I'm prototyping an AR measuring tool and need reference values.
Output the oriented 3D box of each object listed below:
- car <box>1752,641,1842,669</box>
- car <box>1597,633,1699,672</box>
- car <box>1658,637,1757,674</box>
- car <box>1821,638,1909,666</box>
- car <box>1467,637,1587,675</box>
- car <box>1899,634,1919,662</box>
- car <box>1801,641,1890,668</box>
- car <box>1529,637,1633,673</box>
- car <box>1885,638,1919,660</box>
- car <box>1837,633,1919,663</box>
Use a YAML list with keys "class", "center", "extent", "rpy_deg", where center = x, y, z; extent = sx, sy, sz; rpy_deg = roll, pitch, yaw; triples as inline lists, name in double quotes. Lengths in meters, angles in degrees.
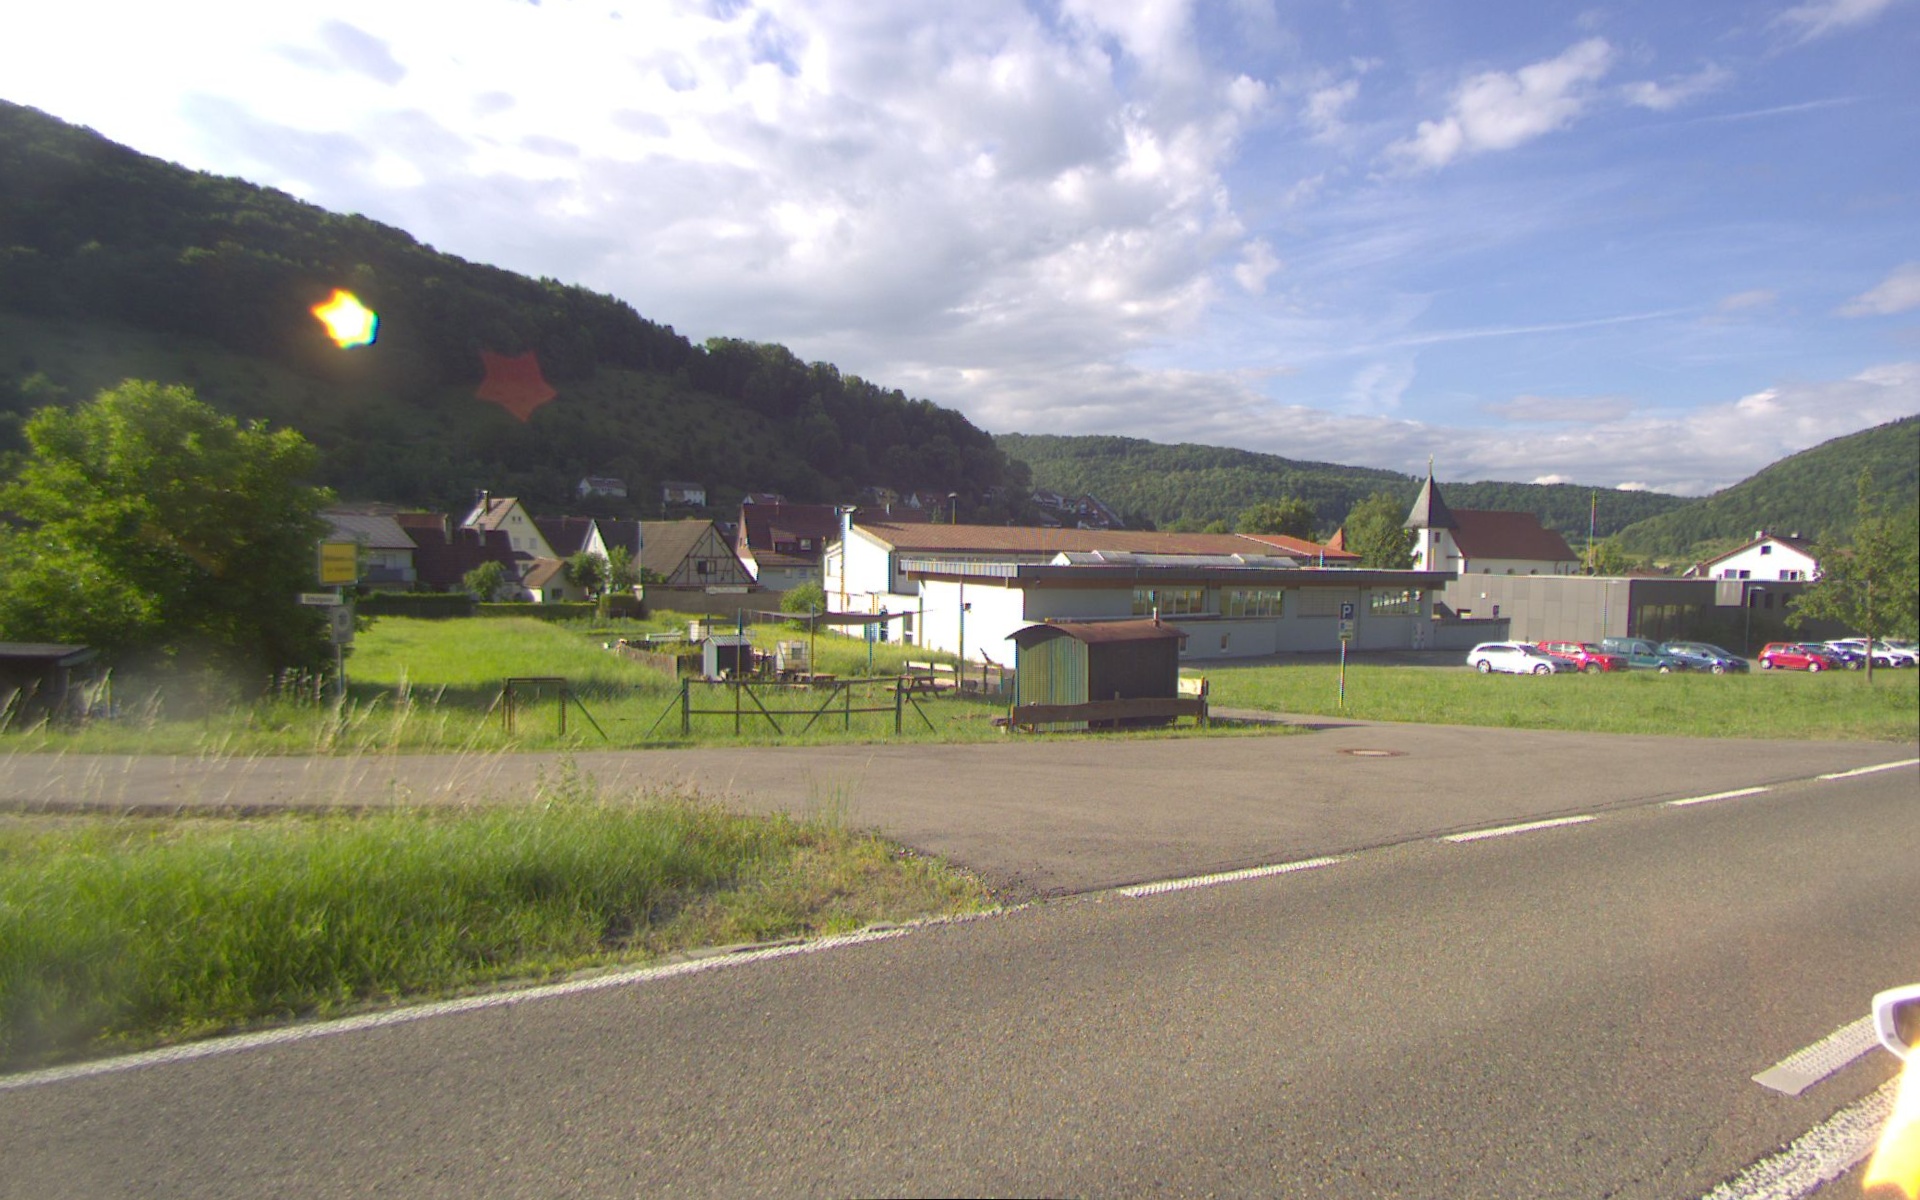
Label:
- class: "car"
  center: [47.594, 3.098, 57.156]
  extent: [1.626, 1.463, 3.614]
  rpy_deg: [1, -2, -25]
- class: "car"
  center: [34.566, 2.612, 50.565]
  extent: [1.734, 1.745, 3.846]
  rpy_deg: [1, 0, -28]
- class: "car"
  center: [38.834, 2.847, 52.292]
  extent: [1.709, 1.744, 3.805]
  rpy_deg: [1, -1, -26]
- class: "car"
  center: [54.815, 3.149, 60.893]
  extent: [1.575, 1.513, 3.655]
  rpy_deg: [-1, 0, -25]
- class: "car"
  center: [26.696, 2.608, 47.464]
  extent: [1.974, 1.610, 4.625]
  rpy_deg: [1, -1, -26]
- class: "car"
  center: [65.275, 3.205, 66.289]
  extent: [1.816, 1.839, 4.540]
  rpy_deg: [1, -2, -25]
- class: "car"
  center: [52.054, 3.179, 59.097]
  extent: [1.575, 1.423, 3.614]
  rpy_deg: [1, -1, -25]
- class: "car"
  center: [29.622, 2.597, 48.012]
  extent: [1.733, 1.600, 3.906]
  rpy_deg: [1, -1, -26]
- class: "car"
  center: [62.797, 3.213, 65.532]
  extent: [1.642, 1.392, 3.350]
  rpy_deg: [1, -2, -33]
- class: "car"
  center: [57.684, 2.965, 62.780]
  extent: [1.575, 1.695, 4.065]
  rpy_deg: [-1, 0, -25]
